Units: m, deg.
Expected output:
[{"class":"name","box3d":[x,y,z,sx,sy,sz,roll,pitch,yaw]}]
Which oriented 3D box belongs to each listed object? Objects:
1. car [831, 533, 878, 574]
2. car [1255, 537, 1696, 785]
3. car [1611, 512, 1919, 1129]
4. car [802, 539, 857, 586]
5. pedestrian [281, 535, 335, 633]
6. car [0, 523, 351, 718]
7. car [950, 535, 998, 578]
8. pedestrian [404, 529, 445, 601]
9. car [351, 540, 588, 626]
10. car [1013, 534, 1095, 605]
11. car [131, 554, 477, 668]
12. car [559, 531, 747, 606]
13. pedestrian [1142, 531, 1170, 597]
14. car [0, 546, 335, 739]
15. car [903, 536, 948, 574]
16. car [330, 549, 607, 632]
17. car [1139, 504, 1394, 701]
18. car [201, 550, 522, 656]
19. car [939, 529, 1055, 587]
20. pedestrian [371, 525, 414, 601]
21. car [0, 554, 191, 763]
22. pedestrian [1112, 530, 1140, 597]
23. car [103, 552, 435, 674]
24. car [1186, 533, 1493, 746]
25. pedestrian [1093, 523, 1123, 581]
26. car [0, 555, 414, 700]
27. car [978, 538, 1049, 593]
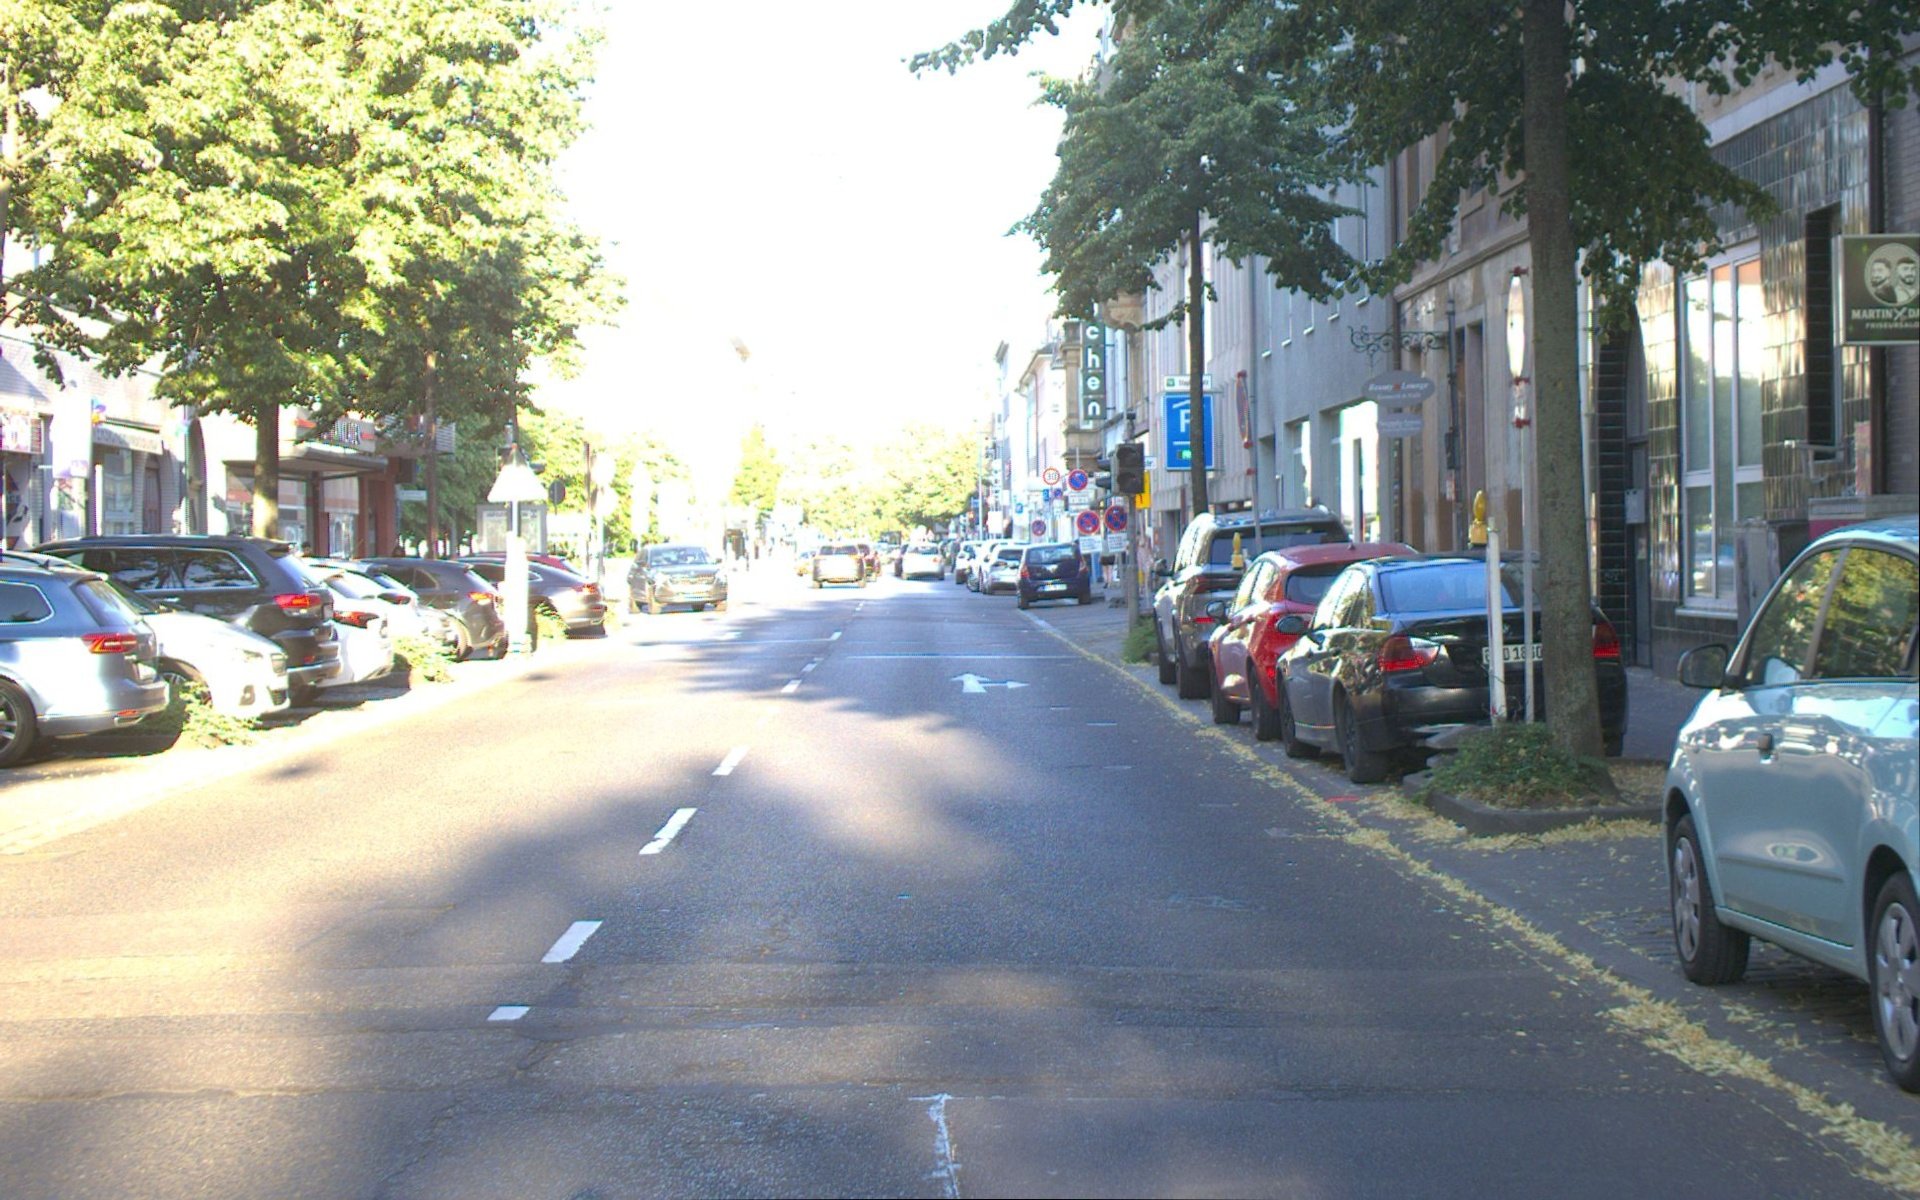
[{"class":"car","box3d":[-4.367,-1.930,142.669,1.896,1.644,4.104,0,1,-1]},{"class":"car","box3d":[3.285,0.325,22.821,1.951,1.385,4.425,-3,1,-3]},{"class":"car","box3d":[3.220,0.506,10.413,1.691,1.537,3.553,-3,1,-1]},{"class":"car","box3d":[-4.659,-1.364,123.398,1.896,1.644,4.104,0,1,-1]},{"class":"pedestrian","box3d":[-11.529,-0.272,60.825,0.772,1.715,0.876,0,-1,0]},{"class":"car","box3d":[-7.900,0.170,32.106,4.149,1.767,1.890,0,1,-3]},{"class":"car","box3d":[0.532,-1.690,134.598,1.729,1.645,4.285,1,1,-1]},{"class":"pedestrian","box3d":[-11.473,-0.751,73.633,0.734,1.523,0.876,0,-1,0]},{"class":"car","box3d":[-8.890,-0.319,62.553,4.072,1.531,1.884,0,1,-1]},{"class":"car","box3d":[2.207,-0.751,81.981,1.759,1.531,4.000,-4,1,0]},{"class":"car","box3d":[-8.453,0.128,44.522,4.097,1.398,1.843,-1,1,1]},{"class":"car","box3d":[-7.335,-0.771,81.871,4.456,1.686,1.863,1,3,42]},{"class":"pedestrian","box3d":[4.722,-0.870,82.963,0.604,1.594,0.774,-1,1,-2]},{"class":"car","box3d":[-7.766,0.339,29.734,4.406,1.590,1.890,0,1,-2]},{"class":"car","box3d":[-1.504,-1.949,148.879,1.896,1.576,4.000,1,1,-1]},{"class":"car","box3d":[-8.429,-0.173,59.229,4.570,1.403,1.822,0,1,-2]},{"class":"car","box3d":[2.981,-0.029,34.409,2.038,1.731,4.711,-3,1,0]},{"class":"car","box3d":[-8.104,0.023,46.824,4.106,1.398,1.884,0,1,-3]},{"class":"car","box3d":[1.137,-1.306,108.344,1.993,1.755,4.467,-1,1,-23]},{"class":"pedestrian","box3d":[-12.137,-0.794,73.531,0.772,1.602,0.876,0,-1,0]},{"class":"car","box3d":[-8.109,0.419,25.340,4.547,1.479,1.745,0,1,-4]},{"class":"pedestrian","box3d":[3.997,-0.890,82.917,0.604,1.594,0.774,-1,1,-2]},{"class":"car","box3d":[-8.343,0.141,41.754,3.737,1.439,1.806,0,1,-3]},{"class":"car","box3d":[2.938,0.256,27.402,1.729,1.482,3.901,-3,1,-3]},{"class":"pedestrian","box3d":[4.472,-1.448,103.806,0.772,1.705,1.042,-3,1,-1]},{"class":"car","box3d":[-7.737,0.262,34.934,4.149,1.416,1.767,0,1,-3]},{"class":"car","box3d":[1.550,-1.000,100.738,1.759,1.531,4.822,1,0,-3]}]
